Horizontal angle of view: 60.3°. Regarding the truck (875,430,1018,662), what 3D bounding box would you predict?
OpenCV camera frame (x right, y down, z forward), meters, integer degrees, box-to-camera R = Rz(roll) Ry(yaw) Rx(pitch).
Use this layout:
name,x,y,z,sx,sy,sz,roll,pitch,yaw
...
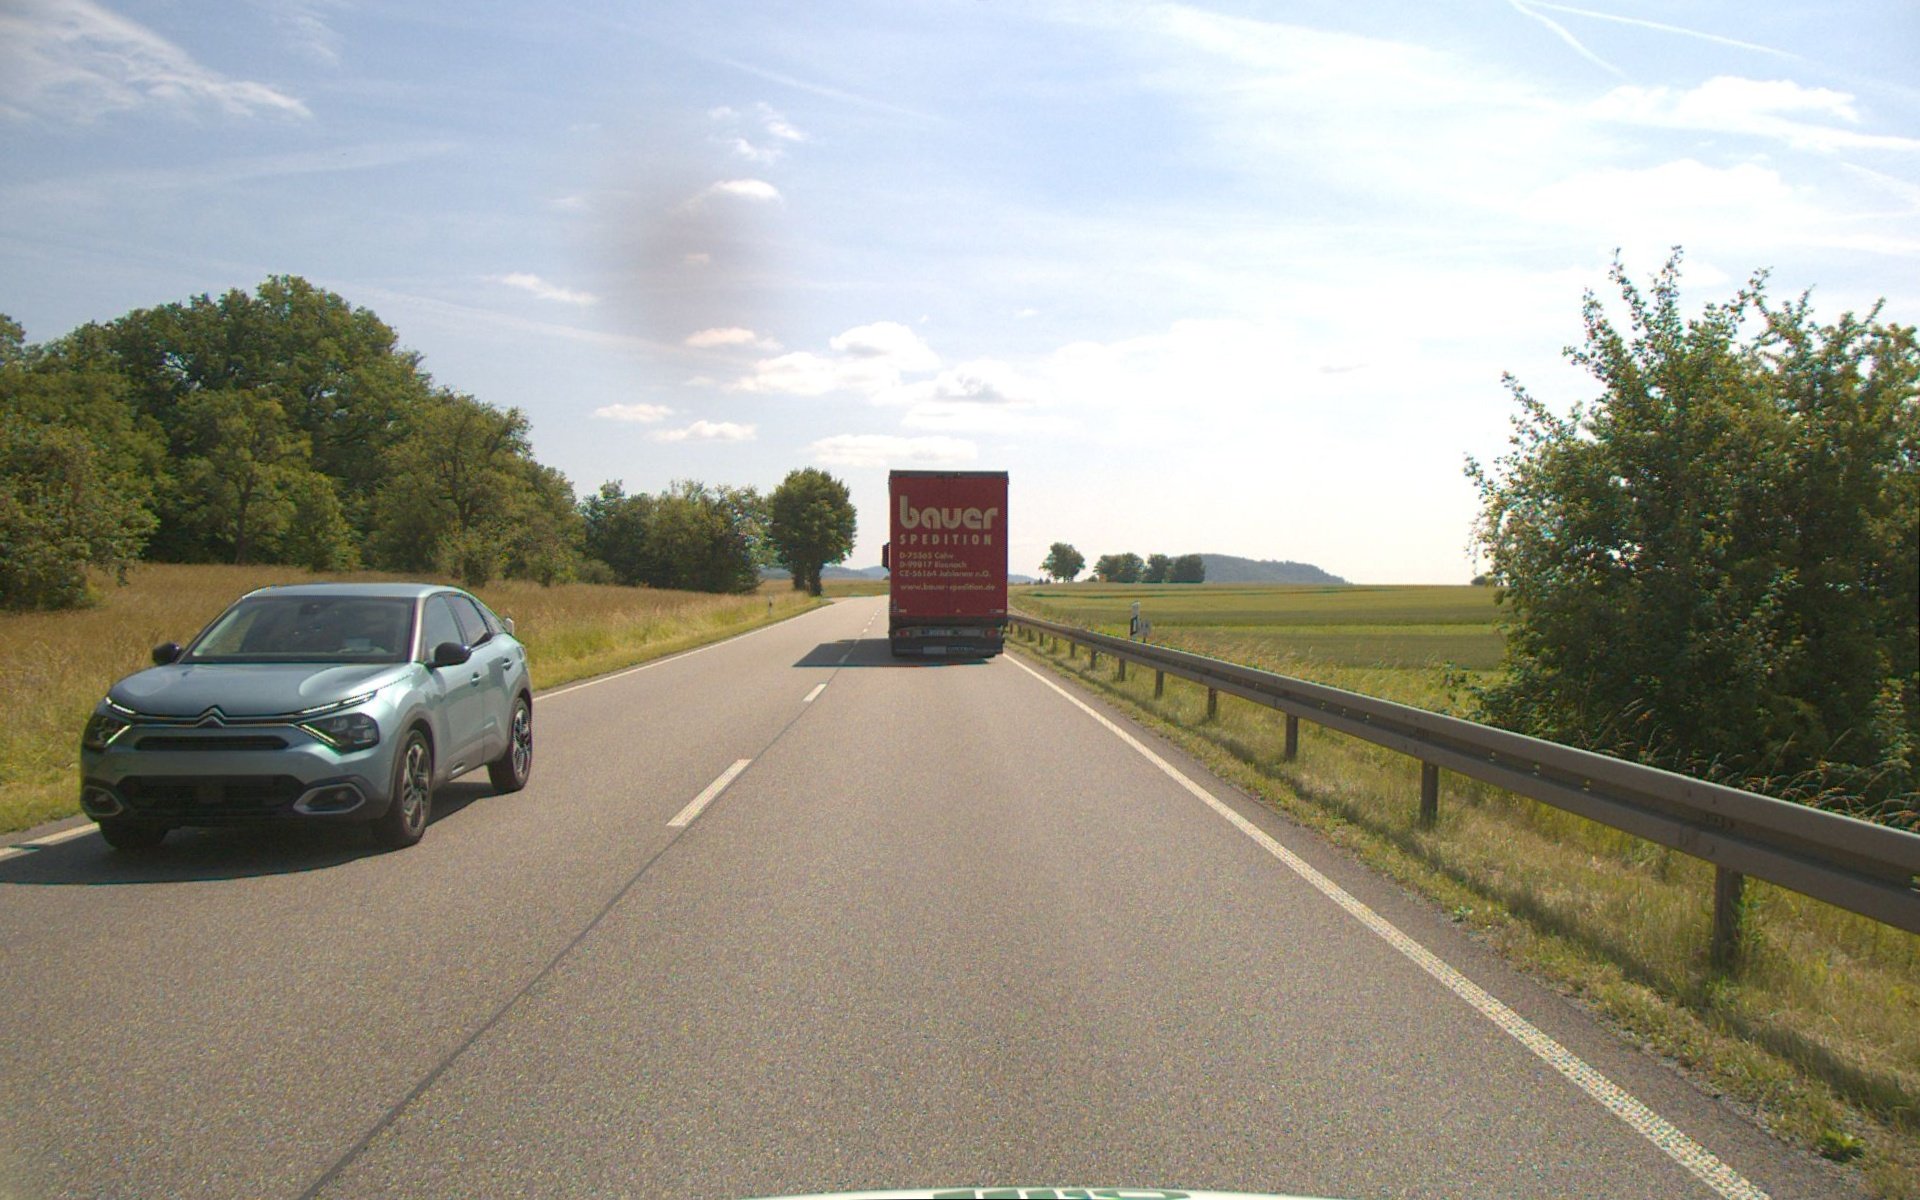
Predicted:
name,x,y,z,sx,sy,sz,roll,pitch,yaw
truck,-0.421,-1.105,39.027,2.915,4.796,9.362,1,0,-2

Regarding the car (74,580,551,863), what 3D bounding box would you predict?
name,x,y,z,sx,sy,sz,roll,pitch,yaw
car,-4.042,0.652,11.084,1.710,1.541,4.052,0,0,-2
